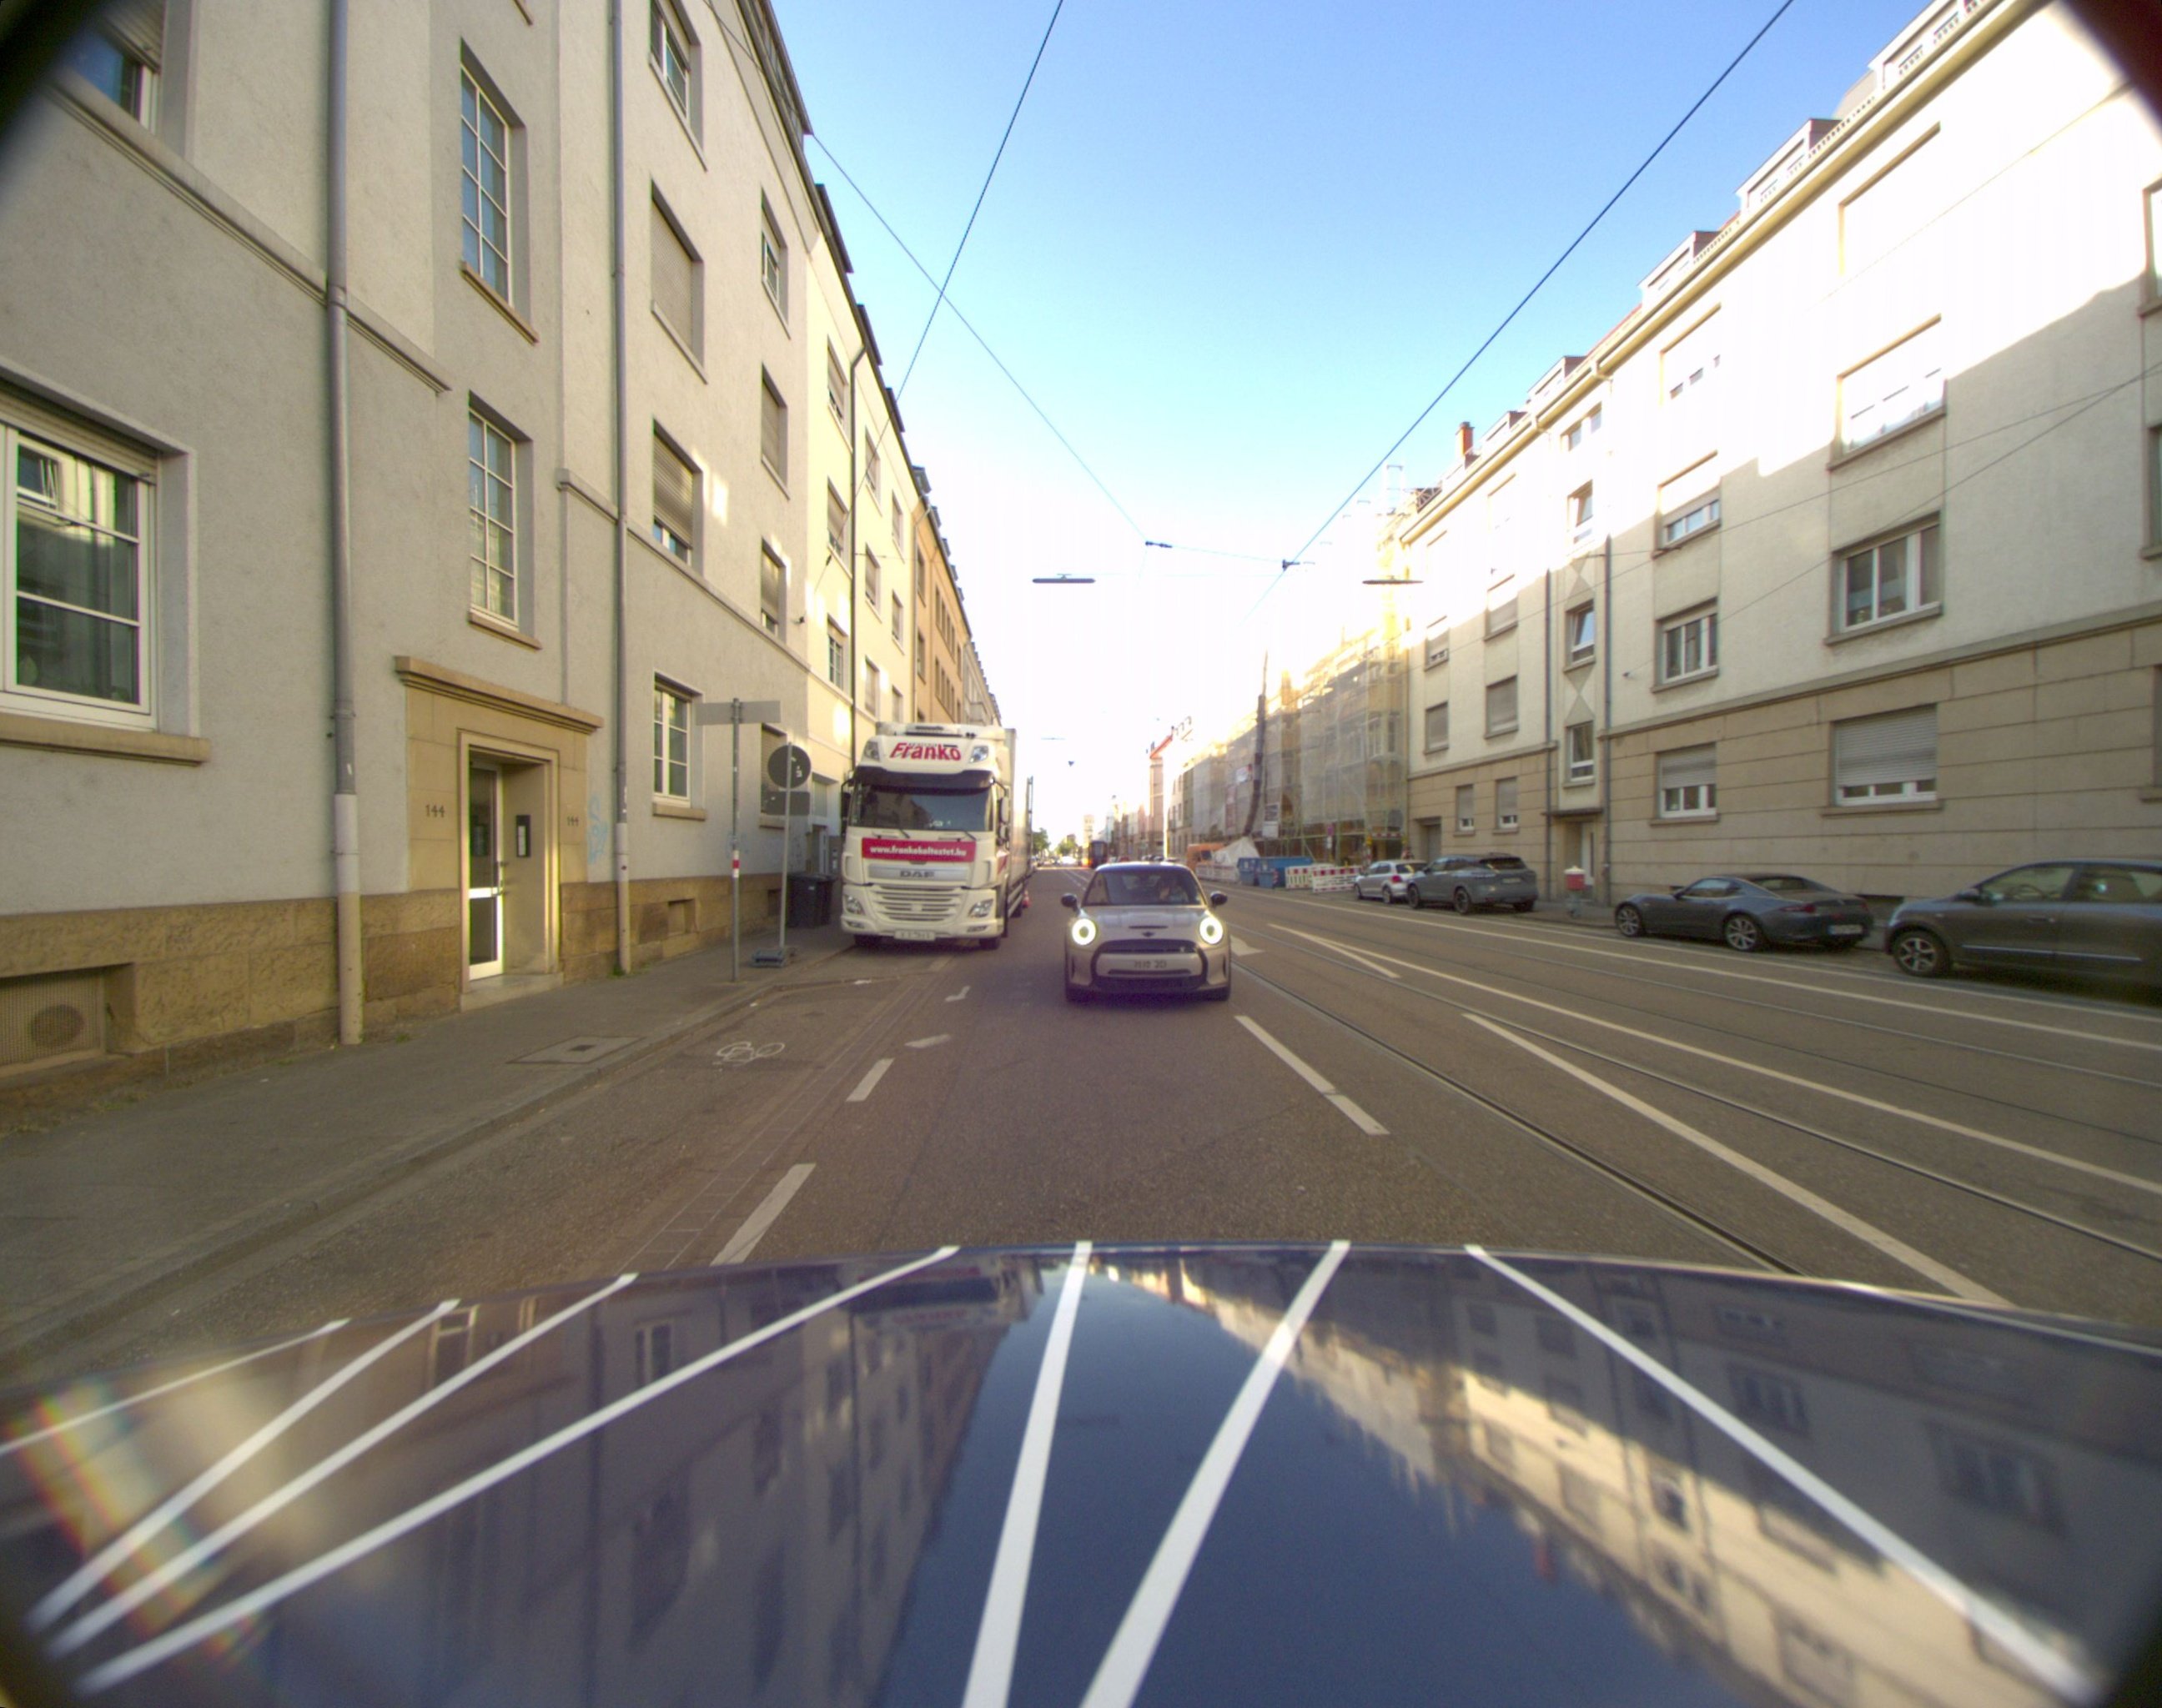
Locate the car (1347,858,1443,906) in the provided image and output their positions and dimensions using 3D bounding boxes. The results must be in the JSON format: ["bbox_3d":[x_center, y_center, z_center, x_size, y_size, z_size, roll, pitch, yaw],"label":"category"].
[{"bbox_3d":[10.568,0.893,25.811,1.565,1.372,3.506,-3,1,-4],"label":"car"}]

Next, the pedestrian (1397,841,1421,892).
[{"bbox_3d":[12.267,0.454,28.422,0.519,1.861,0.762,-2,1,-2],"label":"pedestrian"}]

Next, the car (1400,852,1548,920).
[{"bbox_3d":[10.805,0.792,21.270,1.752,1.600,4.157,-3,1,-4],"label":"car"}]

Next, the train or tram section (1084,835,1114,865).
[{"bbox_3d":[2.201,-0.519,98.370,2.867,3.542,13.038,0,1,-3],"label":"train or tram section"}]

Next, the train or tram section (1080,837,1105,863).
[{"bbox_3d":[1.599,-0.643,111.519,2.867,3.542,13.330,0,1,-3],"label":"train or tram section"}]

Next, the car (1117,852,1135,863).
[{"bbox_3d":[7.051,0.512,119.549,2.231,1.518,4.959,-2,1,-1],"label":"car"}]

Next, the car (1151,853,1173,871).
[{"bbox_3d":[8.178,0.777,77.015,1.570,1.674,3.935,-2,1,-1],"label":"car"}]

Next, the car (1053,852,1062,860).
[{"bbox_3d":[-5.772,0.560,187.132,1.999,1.871,4.269,-2,1,-4],"label":"car"}]

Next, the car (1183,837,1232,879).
[{"bbox_3d":[8.800,0.255,53.364,2.215,2.681,5.871,-2,1,-2],"label":"car"}]

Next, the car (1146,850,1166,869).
[{"bbox_3d":[8.179,0.581,83.393,1.570,1.945,4.183,-2,1,-1],"label":"car"}]

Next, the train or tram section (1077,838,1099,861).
[{"bbox_3d":[1.019,-0.760,123.859,2.867,3.542,13.330,0,1,-3],"label":"train or tram section"}]

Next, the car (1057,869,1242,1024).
[{"bbox_3d":[0.638,0.907,9.069,1.727,1.416,3.817,0,-1,0],"label":"car"}]

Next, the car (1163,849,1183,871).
[{"bbox_3d":[8.607,0.559,71.090,1.658,1.911,3.766,-2,1,5],"label":"car"}]

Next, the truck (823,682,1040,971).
[{"bbox_3d":[-2.498,-0.501,16.990,2.700,4.214,11.773,0,1,-1],"label":"truck"}]

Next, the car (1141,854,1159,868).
[{"bbox_3d":[7.985,0.824,88.081,1.532,1.518,3.599,-2,1,-1],"label":"car"}]

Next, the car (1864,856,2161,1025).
[{"bbox_3d":[11.380,0.862,8.392,1.644,1.549,3.594,-3,1,-2],"label":"car"}]

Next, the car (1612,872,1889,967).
[{"bbox_3d":[11.121,1.009,12.971,1.476,1.212,3.522,-3,1,-4],"label":"car"}]
